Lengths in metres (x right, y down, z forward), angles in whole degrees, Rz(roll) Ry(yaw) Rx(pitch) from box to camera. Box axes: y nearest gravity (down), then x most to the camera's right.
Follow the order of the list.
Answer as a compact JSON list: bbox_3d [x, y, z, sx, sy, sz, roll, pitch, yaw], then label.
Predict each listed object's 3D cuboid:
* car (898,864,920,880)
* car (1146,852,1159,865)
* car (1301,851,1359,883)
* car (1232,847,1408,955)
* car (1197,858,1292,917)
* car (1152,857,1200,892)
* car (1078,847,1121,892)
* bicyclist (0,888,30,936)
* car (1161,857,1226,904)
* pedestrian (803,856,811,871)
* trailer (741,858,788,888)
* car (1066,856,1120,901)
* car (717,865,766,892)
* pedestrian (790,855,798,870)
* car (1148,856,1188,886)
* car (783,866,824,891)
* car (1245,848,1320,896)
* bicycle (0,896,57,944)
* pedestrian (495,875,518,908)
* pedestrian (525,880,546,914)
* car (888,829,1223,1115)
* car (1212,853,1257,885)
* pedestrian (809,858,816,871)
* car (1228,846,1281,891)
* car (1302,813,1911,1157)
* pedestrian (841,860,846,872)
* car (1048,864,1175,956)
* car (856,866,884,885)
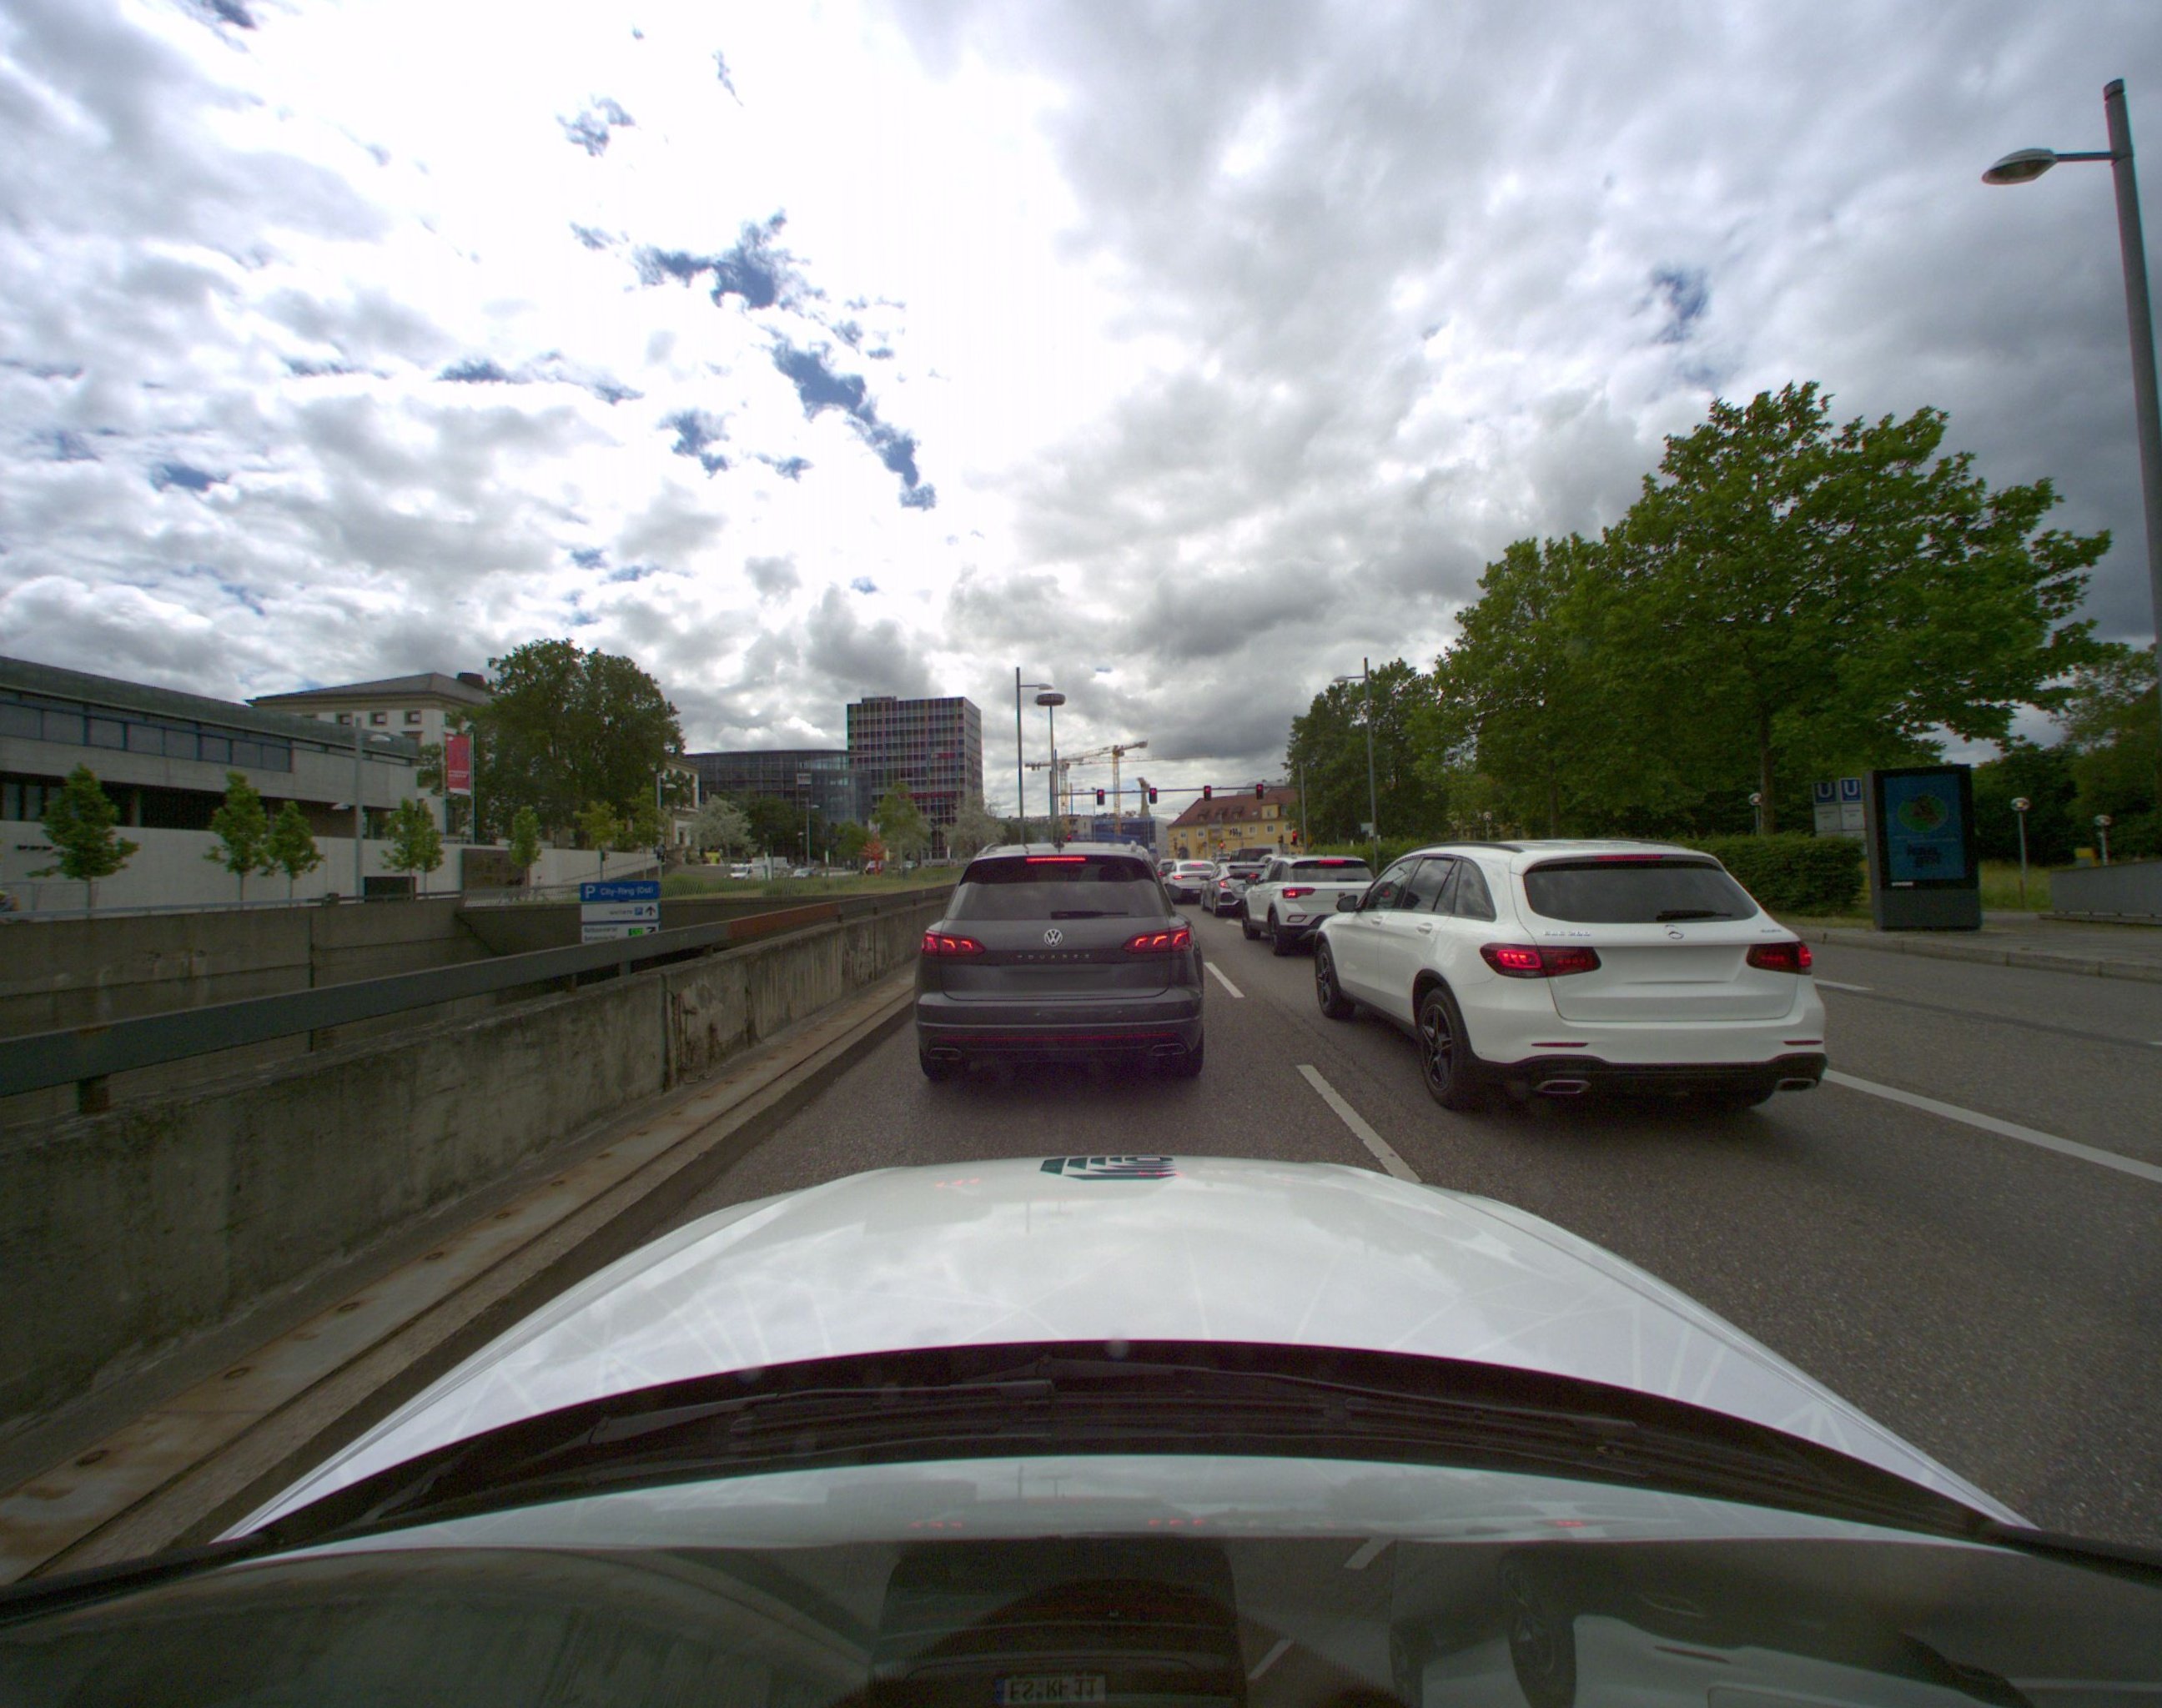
[{"bbox_3d":[-24.255,2.485,115.120,1.986,2.013,4.693,-2,1,1],"label":"car"},{"bbox_3d":[9.712,0.602,111.306,1.612,1.627,4.002,0,-2,3],"label":"car"},{"bbox_3d":[12.101,0.644,39.844,1.921,1.460,4.535,0,-1,6],"label":"car"},{"bbox_3d":[3.882,0.717,14.068,1.918,1.551,4.493,-1,-1,3],"label":"car"},{"bbox_3d":[4.320,0.855,22.233,1.918,1.432,4.493,-1,-1,3],"label":"car"},{"bbox_3d":[4.344,0.940,37.789,1.918,1.529,4.050,-1,-1,3],"label":"car"},{"bbox_3d":[0.879,0.715,38.694,1.944,2.018,3.932,0,0,1],"label":"car"},{"bbox_3d":[-35.612,1.918,26.890,0.728,1.554,0.776,0,-2,1],"label":"bicyclist"},{"bbox_3d":[3.910,0.910,28.972,1.918,1.529,4.493,-1,-1,3],"label":"car"},{"bbox_3d":[-38.422,1.324,114.196,0.735,2.014,0.794,-2,-3,5],"label":"pedestrian"},{"bbox_3d":[-28.829,1.685,74.402,2.030,2.604,5.511,0,0,2],"label":"trailer"},{"bbox_3d":[0.481,0.878,31.161,1.944,1.600,3.932,0,0,1],"label":"car"},{"bbox_3d":[-28.818,2.045,69.294,1.985,2.013,4.695,-2,1,3],"label":"car"},{"bbox_3d":[-39.606,1.158,112.312,0.735,2.013,0.793,-2,1,2],"label":"pedestrian"},{"bbox_3d":[4.662,0.930,44.074,1.918,1.529,4.050,-1,-1,3],"label":"car"},{"bbox_3d":[-25.683,2.220,75.521,1.985,2.013,4.695,-2,1,3],"label":"car"},{"bbox_3d":[7.889,0.646,32.324,1.986,1.639,4.307,-1,2,2],"label":"car"},{"bbox_3d":[-35.638,2.189,26.902,0.723,1.536,2.190,0,-2,1],"label":"bicycle"},{"bbox_3d":[-36.130,2.372,51.214,0.732,2.013,0.797,-1,1,18],"label":"pedestrian"},{"bbox_3d":[-33.204,2.613,49.599,0.621,2.013,0.868,-1,1,43],"label":"pedestrian"},{"bbox_3d":[-0.095,0.708,6.794,1.944,1.651,4.001,-1,0,1],"label":"car"},{"bbox_3d":[8.348,0.823,44.647,1.902,1.697,4.014,0,-1,3],"label":"car"},{"bbox_3d":[-42.965,1.639,130.173,0.788,2.013,0.740,-2,1,-3],"label":"pedestrian"},{"bbox_3d":[8.264,0.688,39.067,1.902,2.014,4.014,0,-1,3],"label":"car"},{"bbox_3d":[3.158,0.637,6.216,1.918,1.653,4.493,-1,0,3],"label":"car"},{"bbox_3d":[-41.748,2.085,142.951,0.741,2.013,0.787,-2,1,-20],"label":"pedestrian"},{"bbox_3d":[0.529,0.884,14.519,1.944,1.384,3.932,0,0,1],"label":"car"},{"bbox_3d":[-25.369,2.553,98.156,1.987,2.013,4.692,-2,1,0],"label":"car"}]
